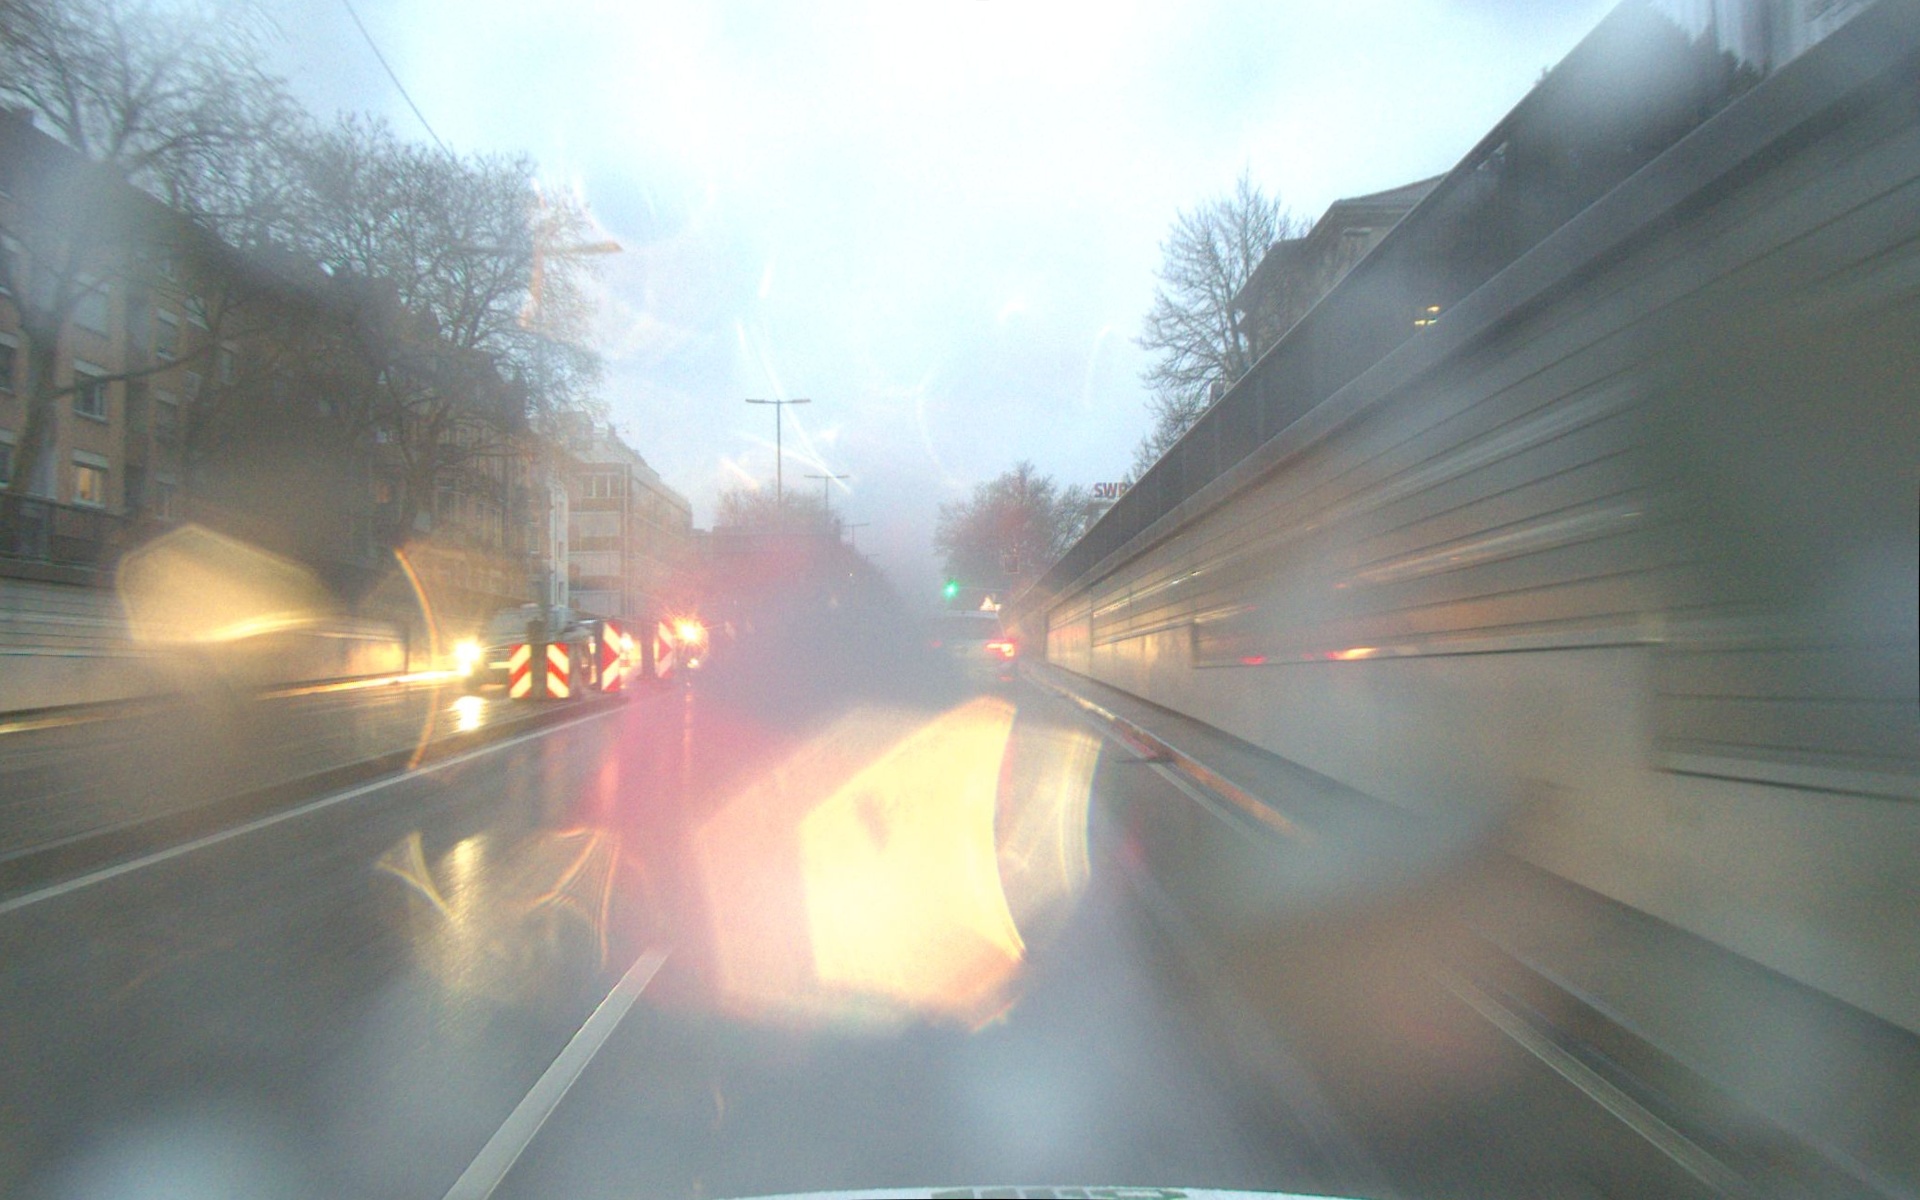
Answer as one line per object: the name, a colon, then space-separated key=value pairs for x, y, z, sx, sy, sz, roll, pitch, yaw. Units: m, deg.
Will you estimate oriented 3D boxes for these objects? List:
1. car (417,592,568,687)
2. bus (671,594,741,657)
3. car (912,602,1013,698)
car: x=-8.793 y=0.693 z=31.431 sx=1.749 sy=1.620 sz=3.841 roll=-2 pitch=0 yaw=0
bus: x=-8.938 y=0.898 z=58.574 sx=1.640 sy=2.000 sz=5.173 roll=-3 pitch=-1 yaw=-1
car: x=0.009 y=0.818 z=26.402 sx=1.501 sy=1.422 sz=3.432 roll=0 pitch=-2 yaw=-1
